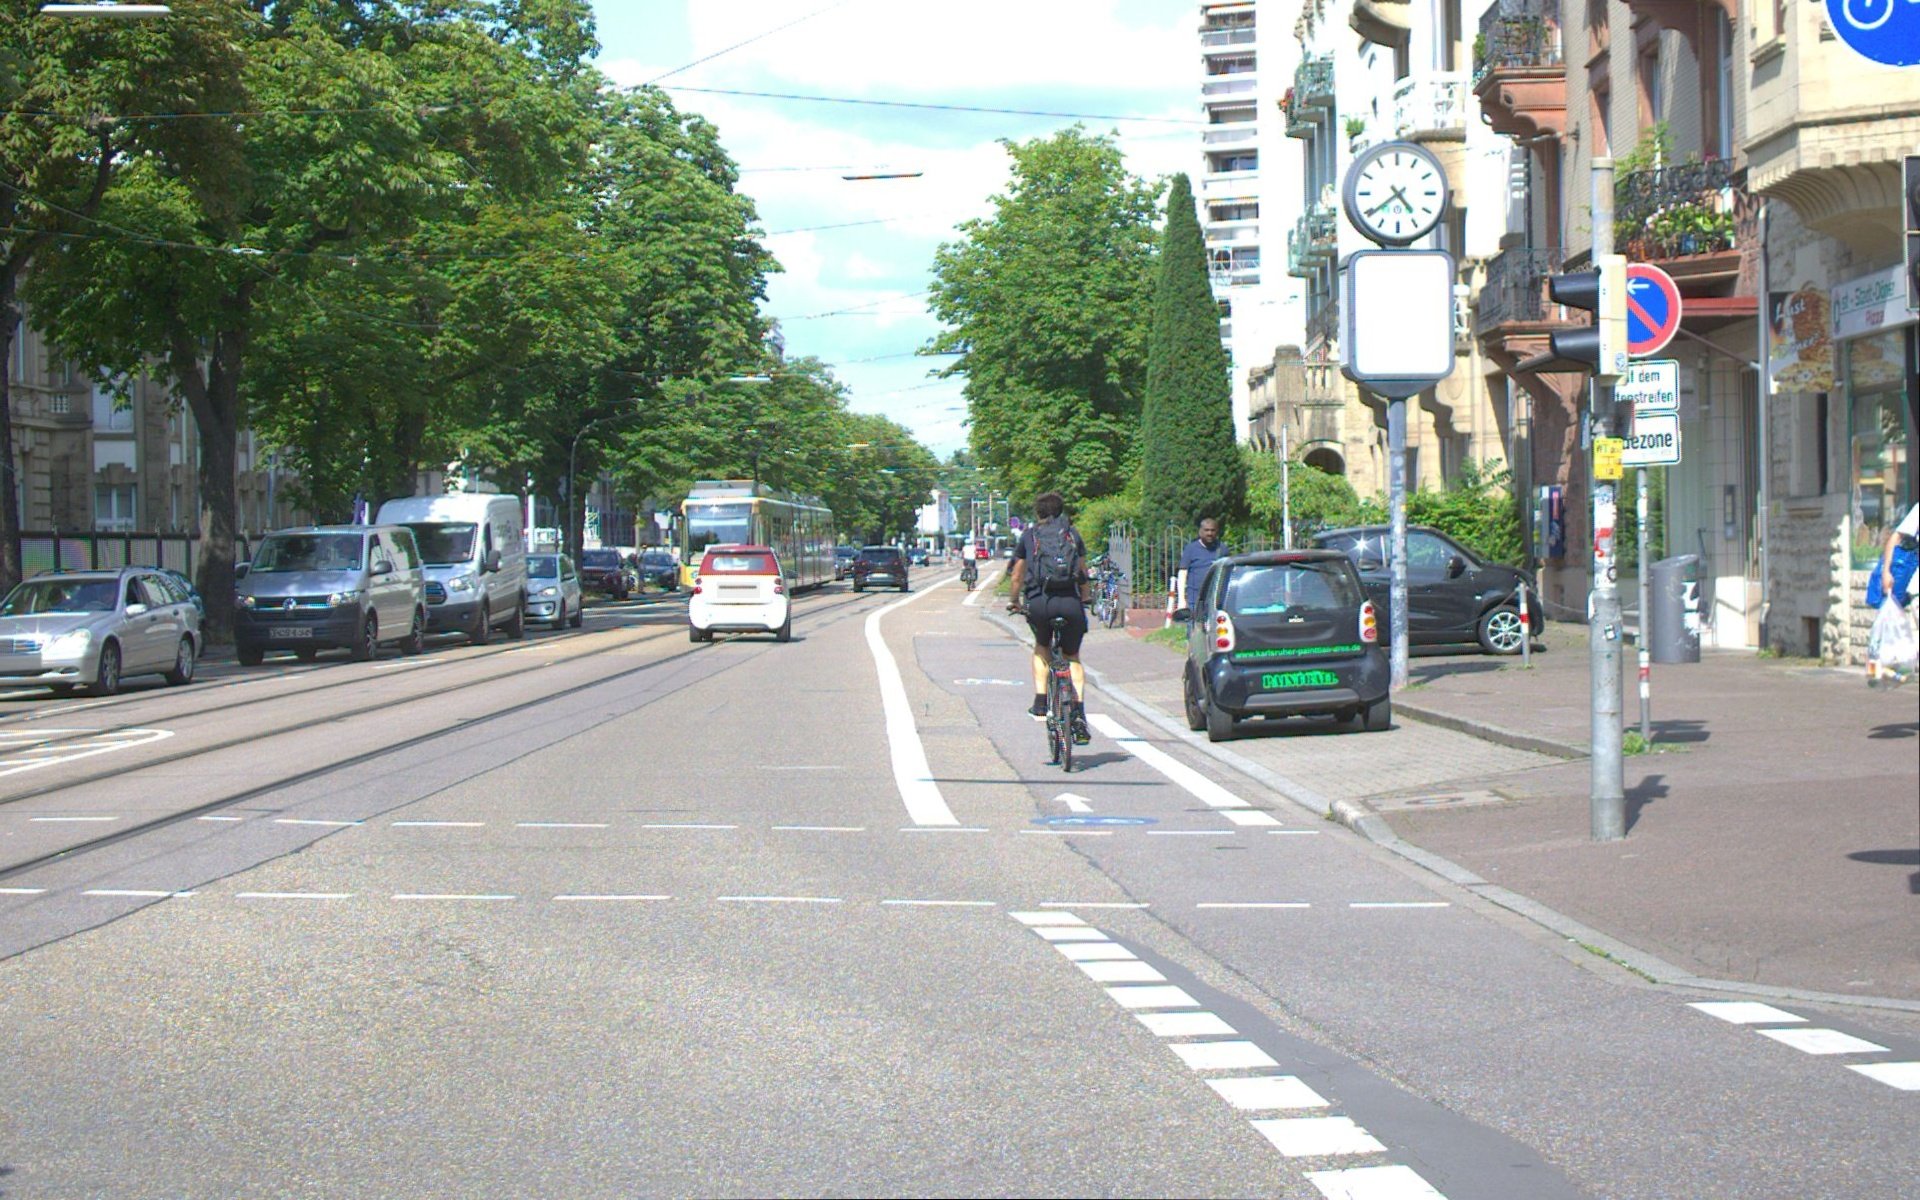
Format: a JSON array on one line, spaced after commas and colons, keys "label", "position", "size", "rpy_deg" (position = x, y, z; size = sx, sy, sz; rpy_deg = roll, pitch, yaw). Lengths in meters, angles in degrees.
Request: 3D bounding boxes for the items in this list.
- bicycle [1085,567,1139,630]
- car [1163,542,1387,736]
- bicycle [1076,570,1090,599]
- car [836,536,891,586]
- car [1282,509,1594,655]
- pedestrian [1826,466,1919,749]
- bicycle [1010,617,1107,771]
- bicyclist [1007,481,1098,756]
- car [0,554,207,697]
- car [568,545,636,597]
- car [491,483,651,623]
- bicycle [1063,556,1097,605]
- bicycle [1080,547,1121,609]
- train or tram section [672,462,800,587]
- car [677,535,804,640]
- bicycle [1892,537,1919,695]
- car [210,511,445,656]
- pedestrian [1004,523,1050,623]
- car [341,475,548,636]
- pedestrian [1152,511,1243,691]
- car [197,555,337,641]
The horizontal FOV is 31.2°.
[{"label": "bicycle", "position": [2.532, -0.040, 57.511], "size": [0.599, 0.957, 3.067], "rpy_deg": [-4, 1, -2]}, {"label": "car", "position": [2.641, 0.294, 29.327], "size": [1.513, 1.493, 2.794], "rpy_deg": [-3, 1, -1]}, {"label": "bicycle", "position": [2.965, -0.387, 83.007], "size": [0.279, 0.675, 1.559], "rpy_deg": [-4, 0, 1]}, {"label": "car", "position": [-3.221, -1.334, 115.330], "size": [1.665, 1.619, 3.621], "rpy_deg": [-1, 1, 1]}, {"label": "car", "position": [5.542, -0.217, 40.198], "size": [3.401, 1.518, 1.972], "rpy_deg": [-3, 1, 3]}, {"label": "pedestrian", "position": [6.197, 0.022, 22.080], "size": [1.010, 1.762, 0.850], "rpy_deg": [-3, 1, 2]}, {"label": "bicycle", "position": [0.701, 0.676, 24.919], "size": [0.616, 1.041, 1.836], "rpy_deg": [-4, -1, 1]}, {"label": "bicyclist", "position": [0.665, 0.127, 24.949], "size": [0.607, 1.941, 1.130], "rpy_deg": [1, 0, 1]}, {"label": "car", "position": [-10.174, 0.258, 39.682], "size": [1.693, 1.475, 4.482], "rpy_deg": [-2, 1, 3]}, {"label": "car", "position": [-12.006, -0.976, 115.408], "size": [1.750, 1.660, 4.721], "rpy_deg": [1, 0, 0]}, {"label": "car", "position": [-7.332, -0.905, 65.471], "size": [2.316, 2.499, 6.364], "rpy_deg": [-1, 1, 0]}, {"label": "bicycle", "position": [2.575, -0.413, 73.698], "size": [0.610, 0.992, 2.362], "rpy_deg": [-3, 0, 1]}, {"label": "bicycle", "position": [2.858, -0.443, 70.221], "size": [0.740, 1.227, 2.516], "rpy_deg": [-1, 0, 0]}, {"label": "train or tram section", "position": [-6.669, -2.194, 103.964], "size": [2.653, 3.425, 12.315], "rpy_deg": [-3, 0, 1]}, {"label": "car", "position": [-3.541, -0.214, 55.982], "size": [1.665, 1.619, 3.620], "rpy_deg": [1, 0, 3]}, {"label": "bicycle", "position": [7.556, 0.130, 24.817], "size": [0.805, 1.173, 2.752], "rpy_deg": [1, 0, -2]}, {"label": "car", "position": [-9.102, -0.221, 49.928], "size": [1.987, 1.956, 5.178], "rpy_deg": [-1, 0, 6]}, {"label": "pedestrian", "position": [1.246, -0.503, 63.975], "size": [0.787, 1.855, 0.580], "rpy_deg": [-1, 0, -6]}, {"label": "car", "position": [-8.531, -0.792, 57.540], "size": [2.316, 2.499, 6.364], "rpy_deg": [-1, 2, 2]}, {"label": "pedestrian", "position": [2.519, 0.006, 36.565], "size": [0.659, 1.835, 0.873], "rpy_deg": [-5, 1, -7]}, {"label": "car", "position": [-12.994, -0.057, 64.680], "size": [1.626, 1.467, 4.204], "rpy_deg": [1, 2, 2]}]
